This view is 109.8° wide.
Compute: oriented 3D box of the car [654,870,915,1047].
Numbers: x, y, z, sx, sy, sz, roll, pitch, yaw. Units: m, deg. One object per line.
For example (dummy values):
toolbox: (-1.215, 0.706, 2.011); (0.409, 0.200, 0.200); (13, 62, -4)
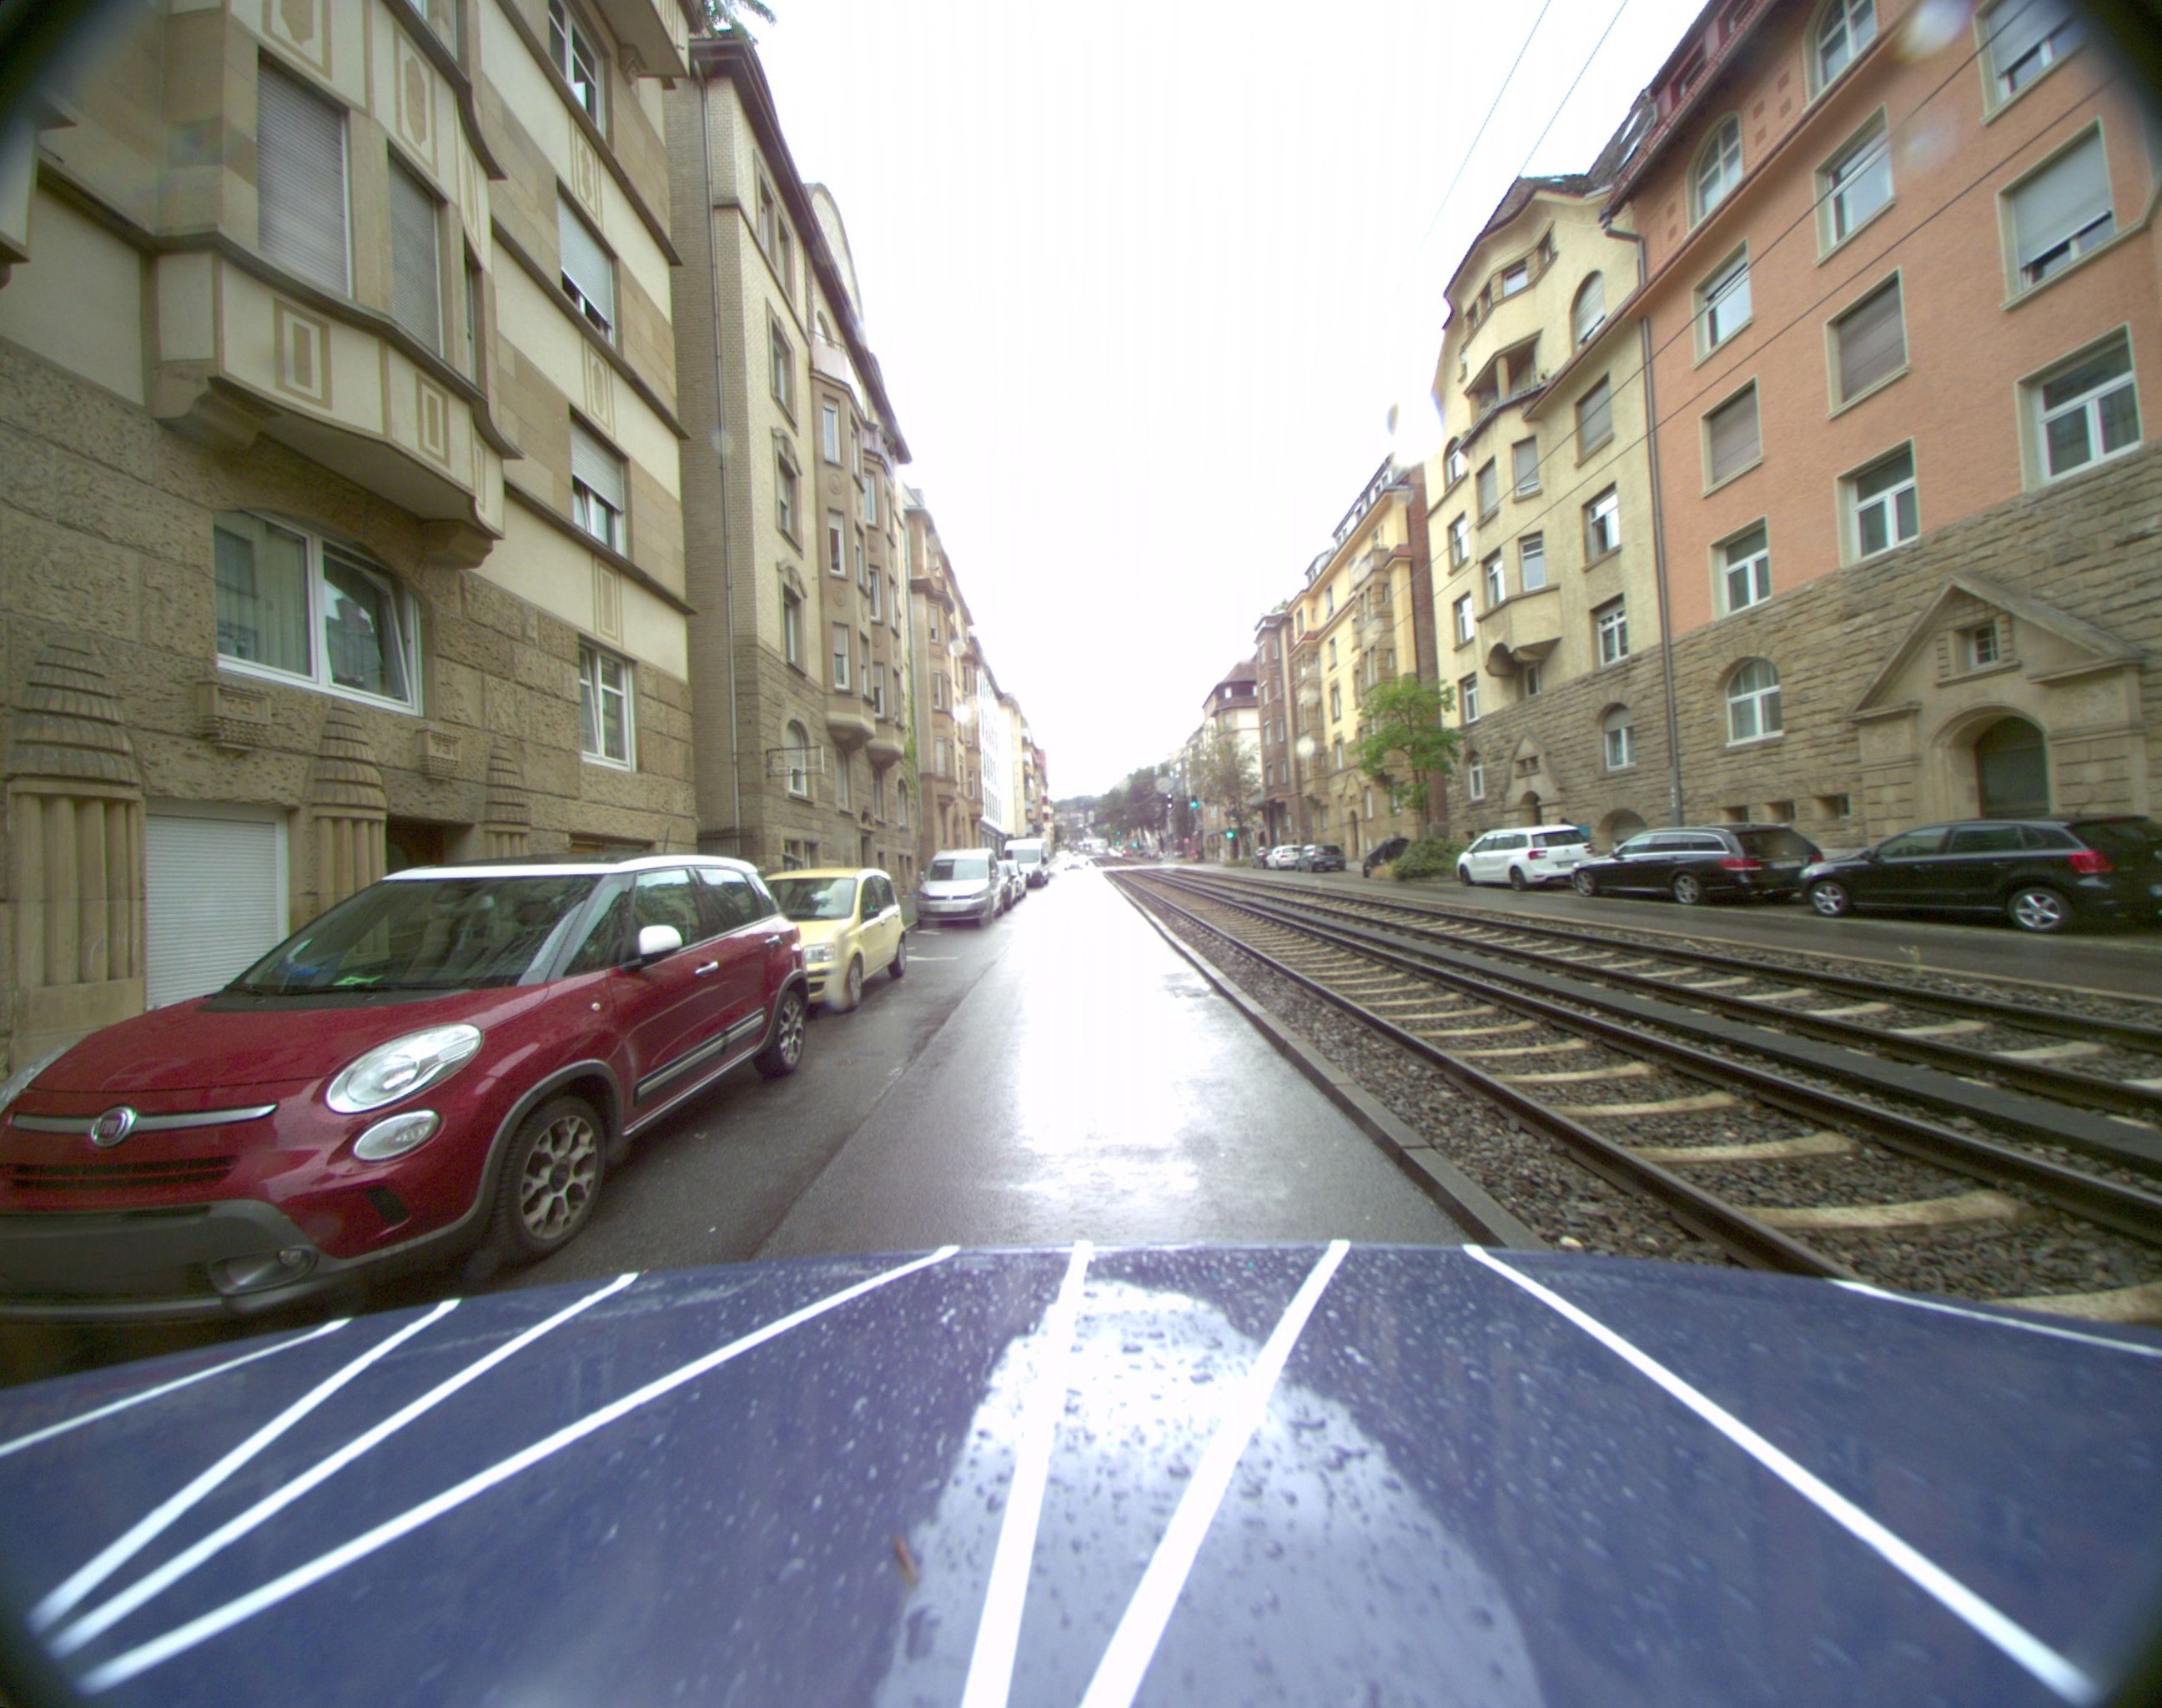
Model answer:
car: (-3.191, 1.023, 8.958); (1.632, 1.502, 3.531); (-3, 0, -1)

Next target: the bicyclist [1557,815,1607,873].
bicyclist: (14.396, -0.289, 21.852); (0.894, 1.592, 0.774); (-2, 1, 1)

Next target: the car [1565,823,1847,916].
car: (12.203, 0.242, 15.347); (1.760, 1.482, 4.597); (-4, 1, -1)

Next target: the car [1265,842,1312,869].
car: (12.437, 0.057, 45.731); (1.759, 1.443, 4.043); (-5, 1, 2)

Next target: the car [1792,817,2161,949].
car: (12.444, 0.292, 10.441); (1.760, 1.396, 3.694); (-5, 1, -2)

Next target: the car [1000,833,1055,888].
car: (-2.710, 0.303, 39.907); (1.991, 2.520, 6.155); (-3, 0, 3)

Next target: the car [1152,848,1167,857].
car: (11.942, -0.248, 115.497); (1.794, 1.339, 4.257); (-2, 1, 0)

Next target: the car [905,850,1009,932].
car: (-2.950, 0.827, 18.927); (1.811, 1.758, 3.962); (-2, 0, 1)

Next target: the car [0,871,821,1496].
car: (-2.965, 0.959, 4.073); (1.774, 1.592, 3.999); (-1, 0, -1)

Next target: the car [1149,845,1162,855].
car: (12.438, -0.642, 127.083); (1.794, 1.609, 4.257); (-2, 1, 0)

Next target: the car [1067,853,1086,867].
car: (-0.381, 0.535, 72.214); (1.737, 1.262, 4.258); (0, 0, 1)

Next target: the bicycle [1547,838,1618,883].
bicycle: (14.415, 0.164, 21.906); (0.694, 1.215, 2.052); (-2, 1, 1)

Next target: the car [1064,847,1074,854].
car: (-2.517, -0.822, 161.097); (1.794, 1.459, 4.257); (-2, 1, 1)

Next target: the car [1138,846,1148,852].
car: (12.802, -1.036, 157.521); (1.794, 1.339, 4.257); (-2, 1, 0)

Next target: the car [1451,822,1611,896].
car: (12.227, 0.100, 21.010); (1.759, 1.663, 4.259); (-5, 1, 0)

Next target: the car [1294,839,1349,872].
car: (12.493, 0.061, 39.669); (1.717, 1.473, 3.712); (-5, 1, 2)

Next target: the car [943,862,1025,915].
car: (-2.921, 1.008, 23.744); (1.931, 1.380, 3.982); (-3, 0, 1)

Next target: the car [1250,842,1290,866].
car: (12.572, -0.015, 50.712); (1.759, 1.419, 3.712); (-5, 1, 2)

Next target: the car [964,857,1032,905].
car: (-2.996, 0.954, 28.176); (1.935, 1.516, 4.058); (-3, 0, 1)
